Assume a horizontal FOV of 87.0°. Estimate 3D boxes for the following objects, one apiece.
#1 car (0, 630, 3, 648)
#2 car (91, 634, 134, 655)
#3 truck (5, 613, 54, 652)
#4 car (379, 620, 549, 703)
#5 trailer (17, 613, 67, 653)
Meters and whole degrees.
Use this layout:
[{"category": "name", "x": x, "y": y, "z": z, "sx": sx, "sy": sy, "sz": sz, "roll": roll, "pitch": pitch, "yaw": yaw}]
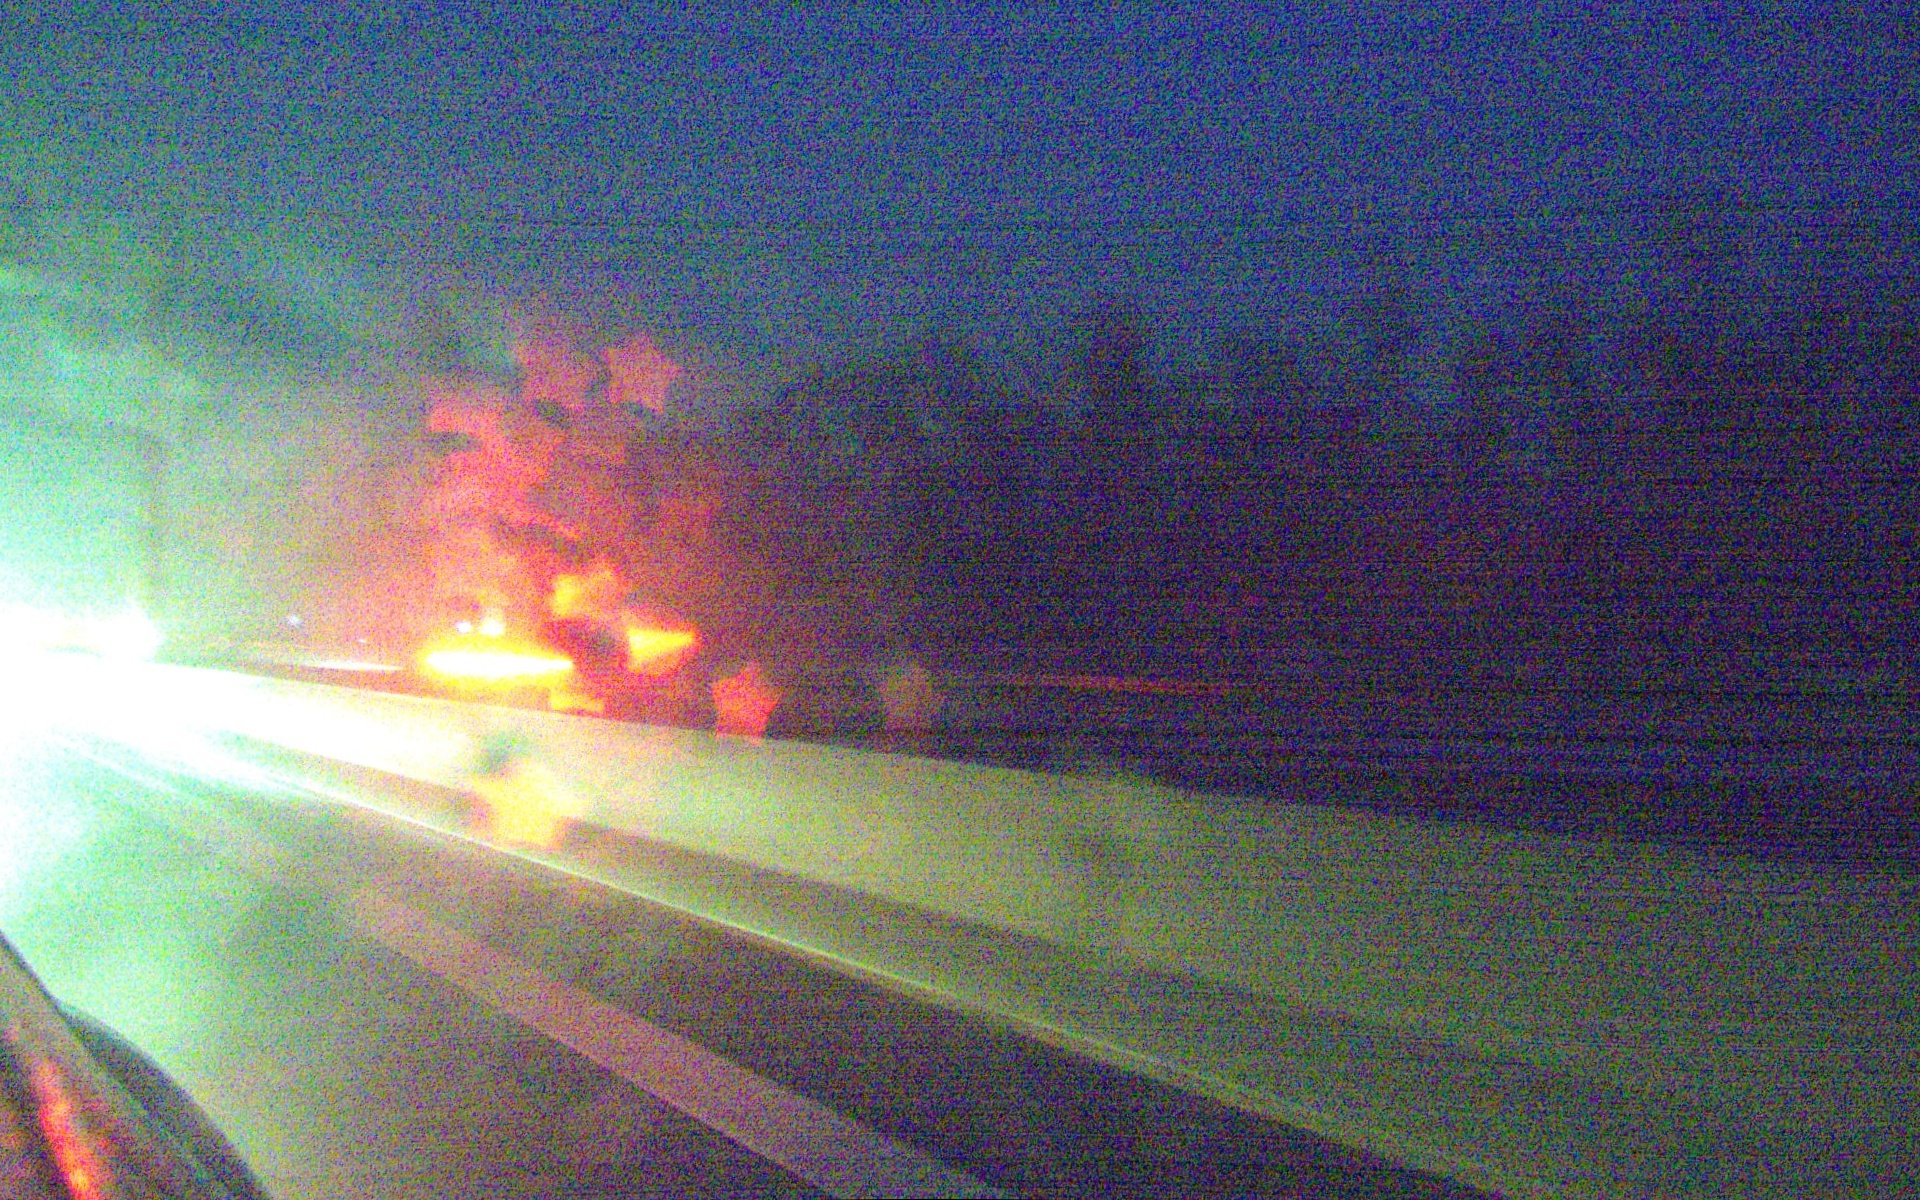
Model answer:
[{"category": "car", "x": -105.008, "y": 4.209, "z": 109.269, "sx": 4.878, "sy": 1.837, "sz": 2.041, "roll": -1, "pitch": 0, "yaw": 41}, {"category": "car", "x": -68.750, "y": 3.601, "z": 82.068, "sx": 4.963, "sy": 1.512, "sz": 1.973, "roll": -1, "pitch": 0, "yaw": 41}, {"category": "truck", "x": -108.831, "y": 3.738, "z": 118.318, "sx": 11.431, "sy": 4.360, "sz": 2.900, "roll": -1, "pitch": -3, "yaw": 42}, {"category": "car", "x": -10.607, "y": 1.231, "z": 21.516, "sx": 4.293, "sy": 1.575, "sz": 1.692, "roll": -1, "pitch": -2, "yaw": 41}, {"category": "trailer", "x": -101.189, "y": 3.620, "z": 111.539, "sx": 8.932, "sy": 4.310, "sz": 2.909, "roll": -1, "pitch": -3, "yaw": 41}]
